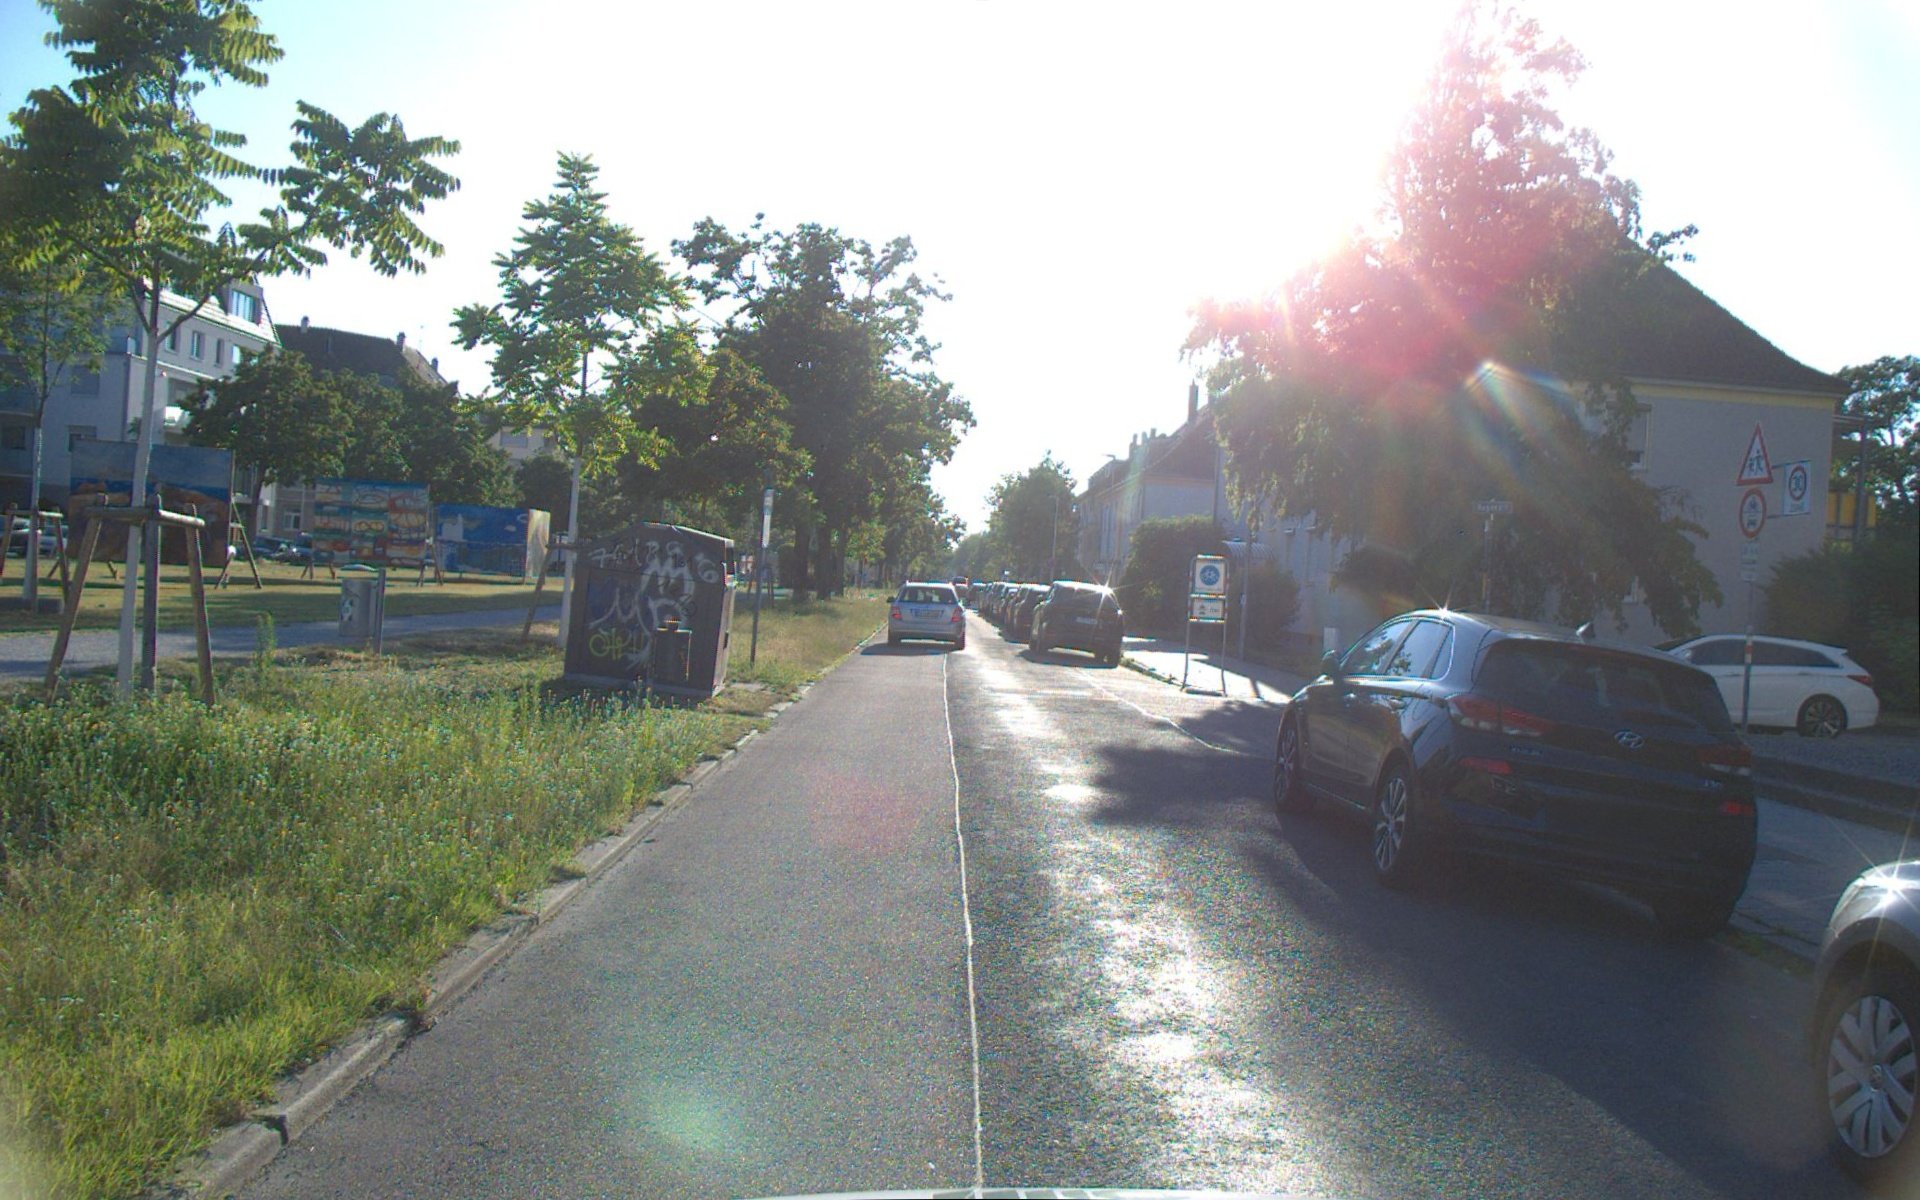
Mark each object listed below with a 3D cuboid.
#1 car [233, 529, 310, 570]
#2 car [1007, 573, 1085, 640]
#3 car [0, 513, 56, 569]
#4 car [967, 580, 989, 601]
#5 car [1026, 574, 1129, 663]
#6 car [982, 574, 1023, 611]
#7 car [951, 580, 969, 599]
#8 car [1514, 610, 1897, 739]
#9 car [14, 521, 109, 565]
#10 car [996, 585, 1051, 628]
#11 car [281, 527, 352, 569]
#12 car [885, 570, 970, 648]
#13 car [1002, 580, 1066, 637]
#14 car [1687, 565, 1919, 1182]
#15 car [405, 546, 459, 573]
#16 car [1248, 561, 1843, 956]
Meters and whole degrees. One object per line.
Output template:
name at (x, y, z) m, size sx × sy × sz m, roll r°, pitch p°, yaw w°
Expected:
car at (-33.945, -2.468, 81.649) m, size 1.889 × 1.860 × 4.691 m, roll 0°, pitch 0°, yaw -1°
car at (2.573, 0.146, 50.334) m, size 1.895 × 1.749 × 4.620 m, roll 6°, pitch 1°, yaw -1°
car at (-39.866, -2.420, 68.490) m, size 2.192 × 2.168 × 4.854 m, roll 0°, pitch 0°, yaw 0°
car at (1.437, -0.751, 136.736) m, size 1.686 × 1.624 × 4.000 m, roll 3°, pitch 0°, yaw 0°
car at (2.659, 0.394, 38.511) m, size 1.796 × 1.761 × 5.031 m, roll 5°, pitch 0°, yaw -1°
car at (2.104, -0.383, 82.660) m, size 1.741 × 1.671 × 4.755 m, roll 3°, pitch 0°, yaw -1°
car at (0.015, -1.249, 194.936) m, size 1.948 × 2.058 × 4.000 m, roll 3°, pitch 1°, yaw 0°
car at (10.961, 1.103, 24.553) m, size 4.749 × 1.512 × 2.002 m, roll 4°, pitch -3°, yaw -2°
car at (-39.831, -2.503, 73.455) m, size 1.784 × 1.775 × 4.460 m, roll 0°, pitch 0°, yaw 0°
car at (2.502, 0.227, 66.232) m, size 1.953 × 1.487 × 4.562 m, roll 5°, pitch 1°, yaw 1°
car at (-34.208, -2.725, 88.072) m, size 1.979 × 2.036 × 5.367 m, roll 0°, pitch 0°, yaw -4°
car at (-0.705, 0.159, 37.845) m, size 1.786 × 1.593 × 4.000 m, roll 2°, pitch 1°, yaw 0°
car at (2.458, 0.237, 55.859) m, size 1.817 × 1.685 × 4.820 m, roll 4°, pitch 1°, yaw 0°
car at (3.332, 0.825, 3.395) m, size 1.654 × 1.553 × 4.175 m, roll 7°, pitch 2°, yaw -1°
car at (-34.490, -2.616, 108.157) m, size 1.942 × 1.665 × 4.828 m, roll 0°, pitch 0°, yaw 1°
car at (3.161, 0.705, 10.102) m, size 1.787 × 1.586 × 4.622 m, roll 9°, pitch 1°, yaw 0°
